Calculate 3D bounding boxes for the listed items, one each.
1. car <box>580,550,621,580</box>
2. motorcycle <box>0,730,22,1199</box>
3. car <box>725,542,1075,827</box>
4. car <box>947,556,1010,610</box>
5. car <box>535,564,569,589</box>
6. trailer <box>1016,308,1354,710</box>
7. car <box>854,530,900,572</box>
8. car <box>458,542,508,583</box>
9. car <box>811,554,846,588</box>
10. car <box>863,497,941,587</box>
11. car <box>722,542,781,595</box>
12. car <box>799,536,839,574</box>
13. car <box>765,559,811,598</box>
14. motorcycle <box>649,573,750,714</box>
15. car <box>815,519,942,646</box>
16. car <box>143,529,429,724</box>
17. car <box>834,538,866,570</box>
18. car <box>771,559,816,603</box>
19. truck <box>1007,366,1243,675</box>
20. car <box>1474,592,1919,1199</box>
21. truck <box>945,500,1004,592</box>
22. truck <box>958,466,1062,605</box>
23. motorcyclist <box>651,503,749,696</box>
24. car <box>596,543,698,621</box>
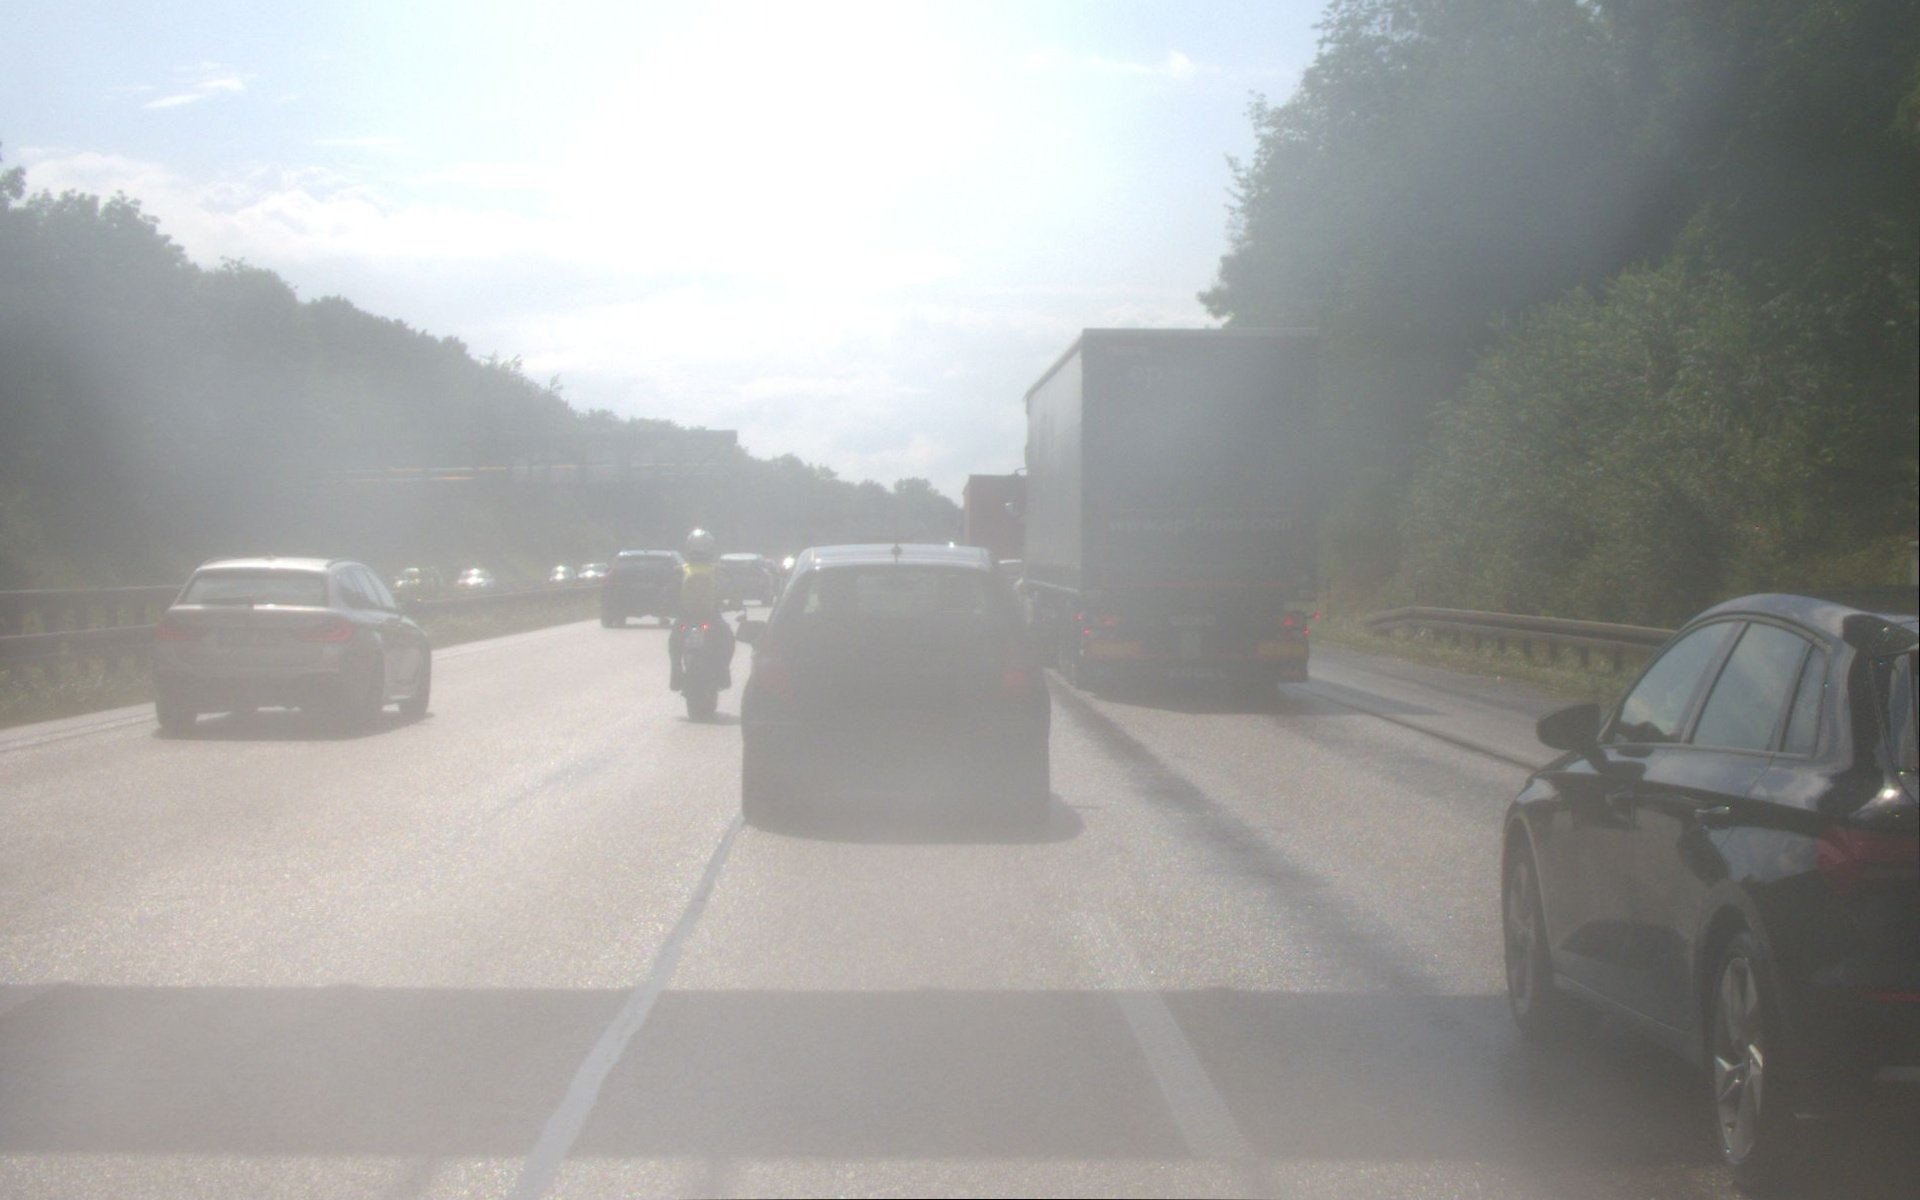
[{"bbox_3d":[-20.031,-1.963,191.806,1.921,1.575,4.000,-1,1,-1],"label":"car"},{"bbox_3d":[-2.290,0.831,6.375,0.676,1.083,1.982,1,1,-4],"label":"motorcycle"},{"bbox_3d":[-0.374,0.438,21.040,1.915,1.560,4.314,0,1,-1],"label":"car"},{"bbox_3d":[0.501,-0.483,95.605,1.675,1.485,3.437,0,1,-1],"label":"car"},{"bbox_3d":[-24.646,-1.452,207.812,1.631,1.477,3.786,0,1,-1],"label":"car"},{"bbox_3d":[2.526,-1.060,43.920,3.088,4.298,14.106,0,1,-1],"label":"trailer"},{"bbox_3d":[-2.974,-1.763,123.373,1.631,1.485,3.437,0,1,-1],"label":"car"},{"bbox_3d":[-24.133,-1.898,174.021,1.993,2.007,4.000,1,1,-1],"label":"car"},{"bbox_3d":[-7.844,-1.721,205.180,1.993,2.007,4.000,1,0,-1],"label":"car"},{"bbox_3d":[-1.291,-1.275,76.028,1.675,1.929,3.773,0,1,-1],"label":"car"},{"bbox_3d":[-6.427,-0.972,106.074,1.675,1.591,3.437,0,1,-1],"label":"car"},{"bbox_3d":[-7.476,-2.387,182.680,1.993,2.007,4.000,1,0,-1],"label":"car"},{"bbox_3d":[-6.773,-0.864,135.675,1.675,1.485,3.437,0,1,-1],"label":"car"},{"bbox_3d":[-2.429,0.383,32.241,0.819,1.258,2.118,1,1,-1],"label":"motorcycle"},{"bbox_3d":[-1.346,-0.290,56.518,1.993,2.007,4.000,1,0,-1],"label":"car"},{"bbox_3d":[-5.870,0.173,30.404,1.758,1.589,4.331,0,1,-1],"label":"car"},{"bbox_3d":[-7.080,-2.952,222.336,1.993,2.007,4.000,1,0,-1],"label":"car"},{"bbox_3d":[-7.831,-0.902,161.693,1.993,2.007,4.000,1,0,-1],"label":"car"},{"bbox_3d":[2.358,-1.161,51.122,3.052,4.310,5.886,1,1,-1],"label":"truck"},{"bbox_3d":[2.625,0.700,9.210,1.755,1.391,4.368,0,1,-1],"label":"car"},{"bbox_3d":[0.709,-2.823,183.220,2.882,4.671,12.659,1,0,-1],"label":"truck"},{"bbox_3d":[1.581,-2.097,113.489,3.202,4.389,9.432,0,1,0],"label":"truck"},{"bbox_3d":[-2.424,-0.009,32.193,0.821,1.755,1.390,1,0,-1],"label":"motorcyclist"},{"bbox_3d":[-6.712,-0.398,74.162,1.893,1.622,4.195,0,1,-1],"label":"car"}]
